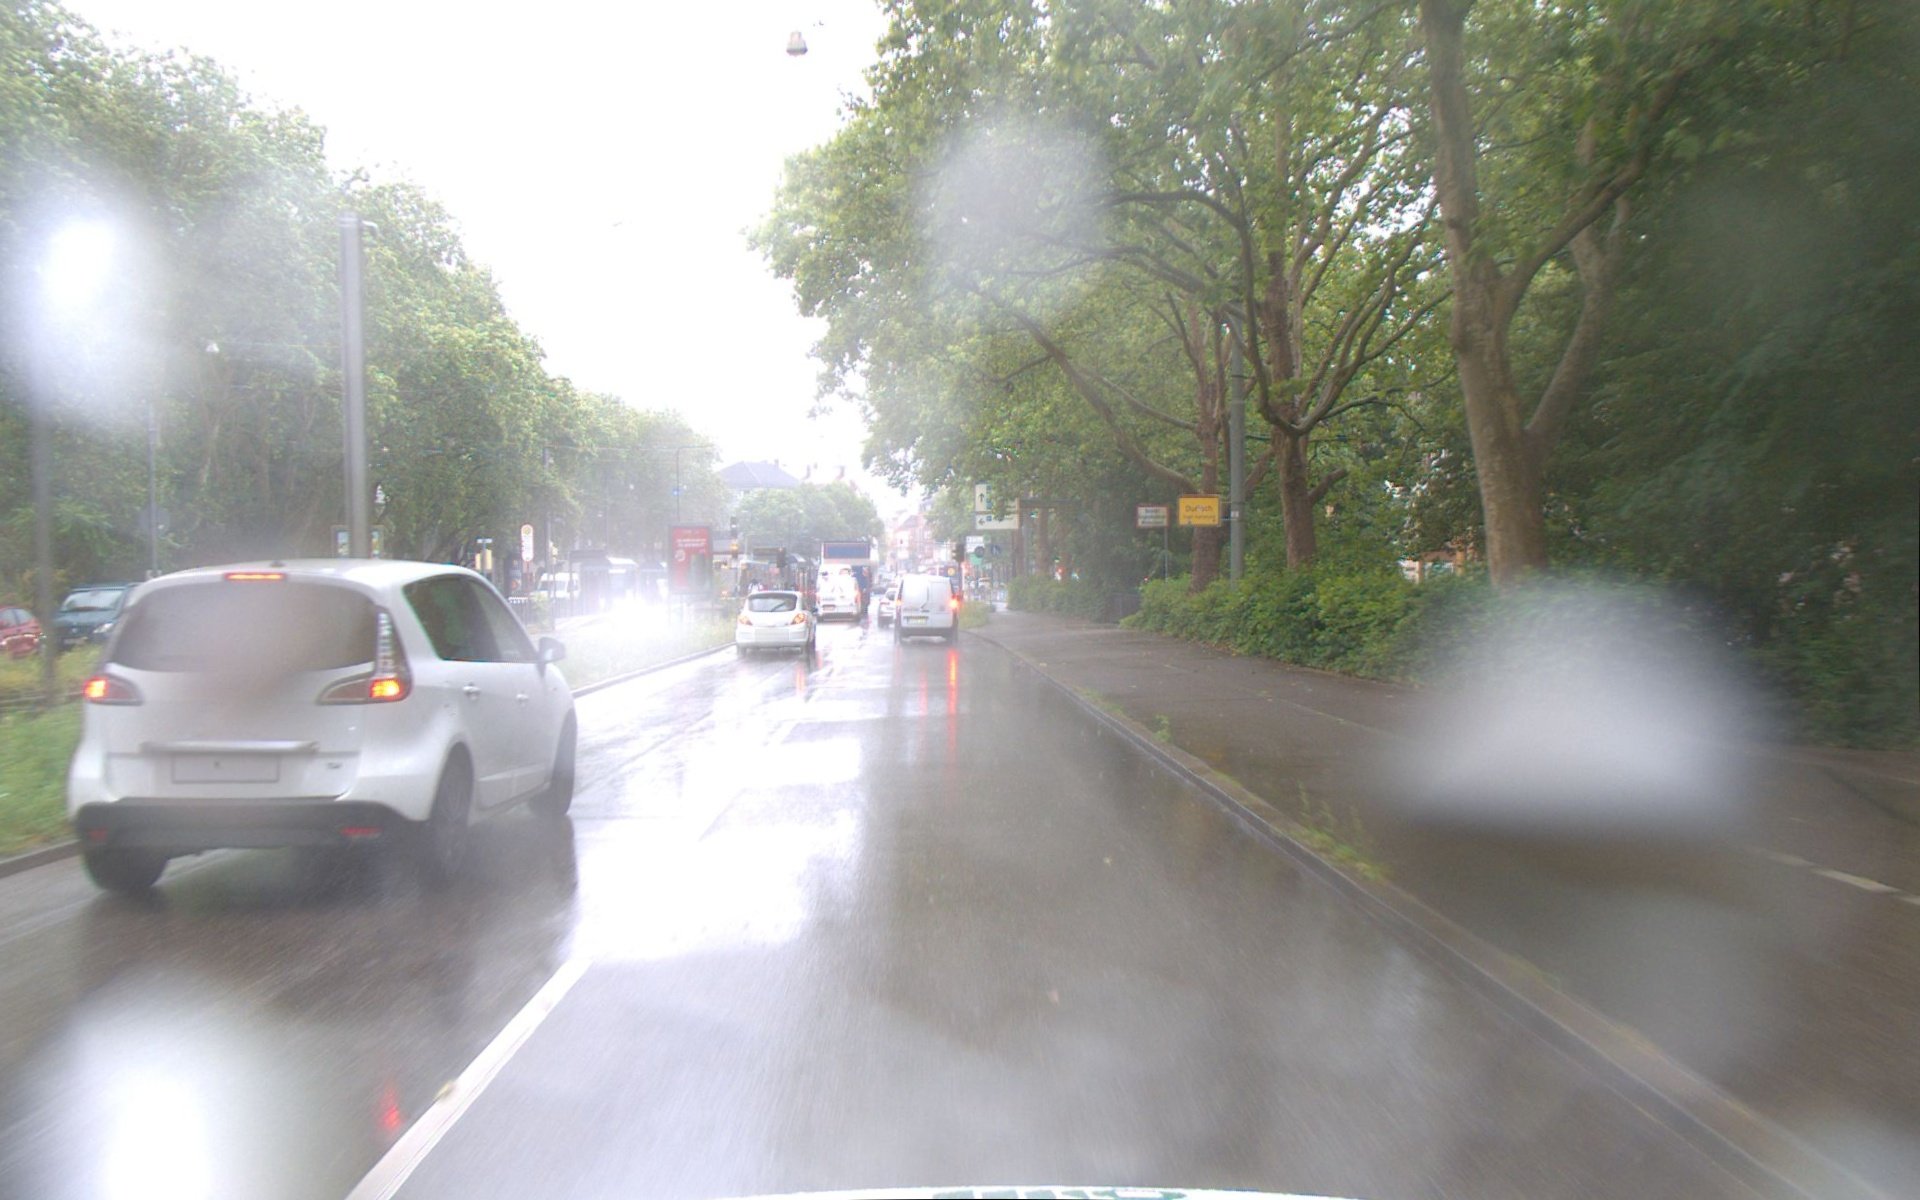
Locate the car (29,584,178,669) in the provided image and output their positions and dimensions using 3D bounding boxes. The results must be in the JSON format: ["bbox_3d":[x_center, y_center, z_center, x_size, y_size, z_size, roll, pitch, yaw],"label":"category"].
[{"bbox_3d":[-23.564,0.692,45.738,1.993,2.129,4.797,-2,0,-6],"label":"car"}]

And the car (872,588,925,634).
[{"bbox_3d":[-2.255,0.413,61.522,1.869,1.646,3.999,0,-1,-1],"label":"car"}]

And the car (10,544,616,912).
[{"bbox_3d":[-3.348,0.574,9.562,1.826,1.652,4.262,0,0,0],"label":"car"}]

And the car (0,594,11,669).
[{"bbox_3d":[-22.399,0.717,35.239,1.992,1.686,4.606,0,0,-5],"label":"car"}]

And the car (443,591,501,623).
[{"bbox_3d":[-25.137,0.364,85.324,1.895,1.544,3.999,-2,1,-2],"label":"car"}]

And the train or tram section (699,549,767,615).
[{"bbox_3d":[-12.362,-1.031,90.783,2.902,3.342,8.355,-2,1,-3],"label":"train or tram section"}]

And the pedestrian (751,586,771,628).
[{"bbox_3d":[-8.435,0.298,70.187,0.774,1.744,0.770,1,-1,-3],"label":"pedestrian"}]

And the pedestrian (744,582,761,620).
[{"bbox_3d":[-9.701,0.040,77.361,0.701,1.775,0.750,-1,0,-3],"label":"pedestrian"}]

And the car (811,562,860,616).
[{"bbox_3d":[-6.220,-0.495,83.282,2.283,2.602,6.111,0,-1,-2],"label":"car"}]

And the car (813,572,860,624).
[{"bbox_3d":[-5.539,-0.062,74.806,1.953,2.302,5.286,0,-1,-2],"label":"car"}]

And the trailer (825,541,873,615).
[{"bbox_3d":[-6.194,-1.232,92.448,2.539,3.968,7.631,0,1,-4],"label":"trailer"}]

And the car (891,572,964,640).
[{"bbox_3d":[-0.923,0.176,45.451,1.920,1.808,3.567,0,-1,-3],"label":"car"}]

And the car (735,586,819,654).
[{"bbox_3d":[-4.241,0.456,38.738,1.691,1.505,3.803,0,-1,-3],"label":"car"}]

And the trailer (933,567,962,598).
[{"bbox_3d":[-0.998,-1.351,130.409,1.954,2.357,4.664,0,-1,-4],"label":"trailer"}]
